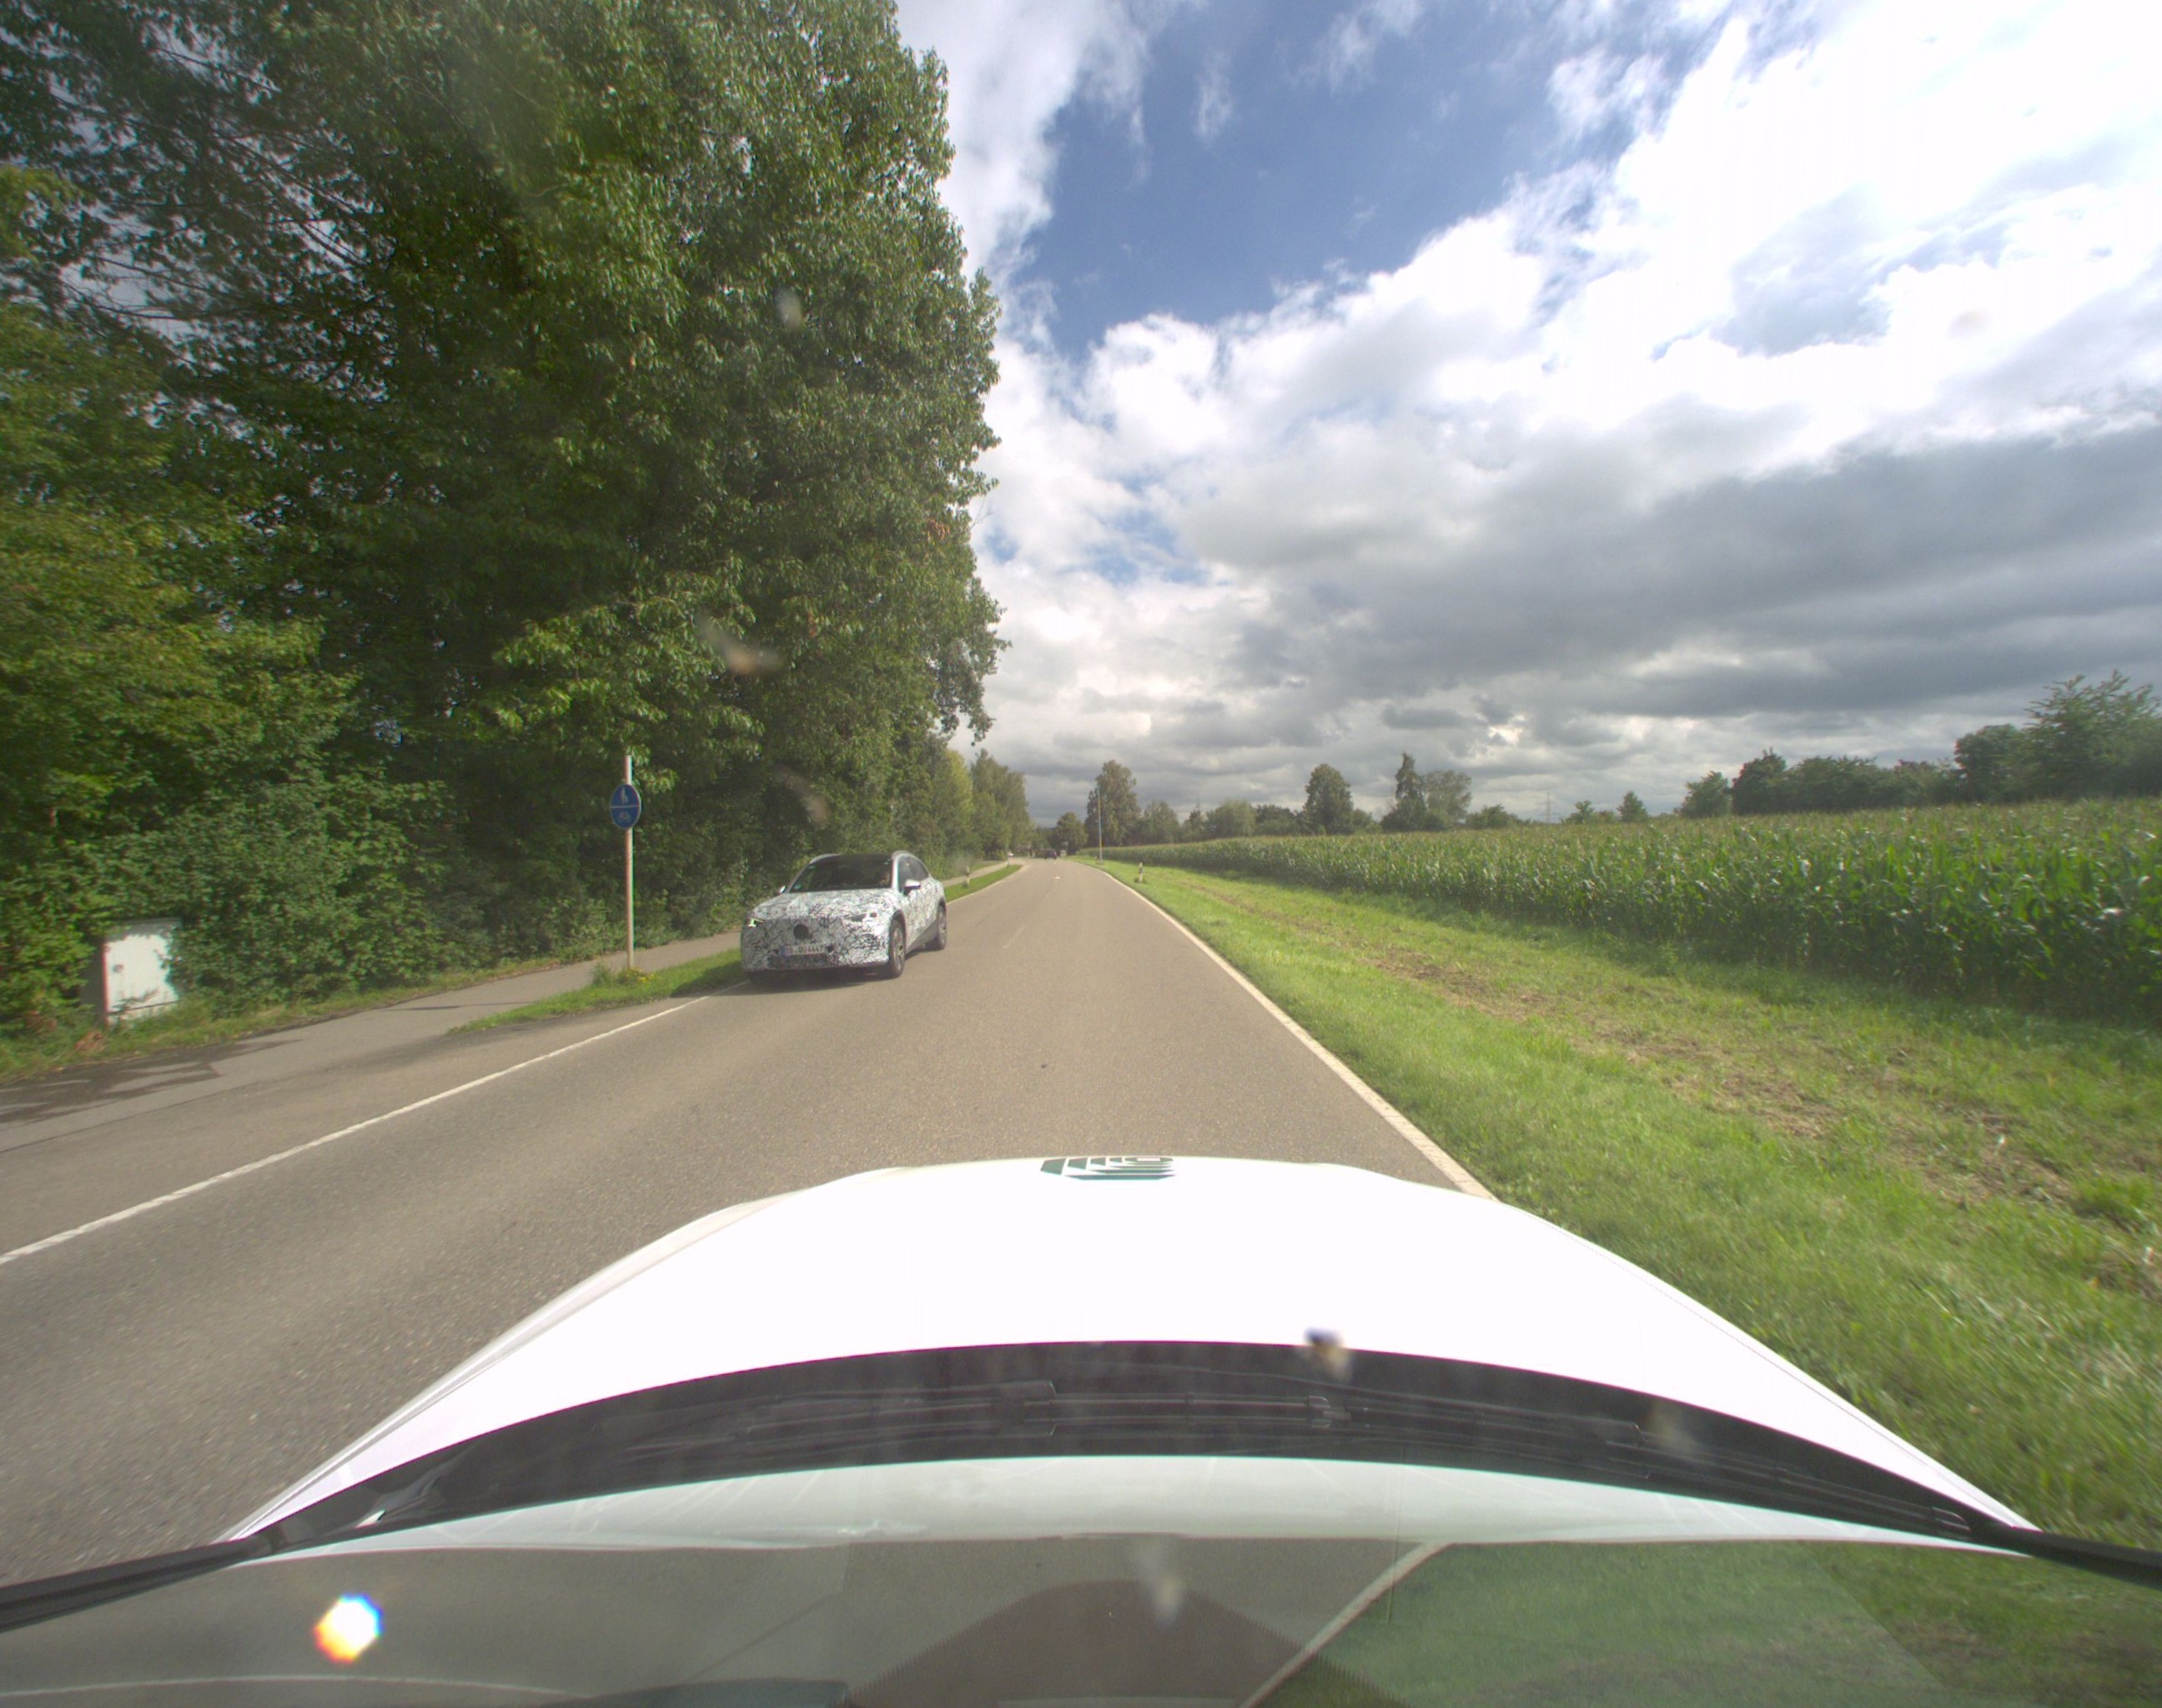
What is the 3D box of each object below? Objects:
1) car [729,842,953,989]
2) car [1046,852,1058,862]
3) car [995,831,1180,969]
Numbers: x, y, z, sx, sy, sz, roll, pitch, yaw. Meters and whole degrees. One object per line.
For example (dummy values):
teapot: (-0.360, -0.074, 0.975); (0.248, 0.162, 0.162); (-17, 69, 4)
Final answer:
car: (-3.174, 0.713, 11.770); (1.805, 1.650, 4.293); (-3, 0, 1)
car: (-4.742, 0.444, 132.821); (1.989, 1.585, 3.995); (1, 0, -4)
car: (-0.063, 0.689, 14.108); (1.999, 2.014, 3.974); (1, -1, -19)
